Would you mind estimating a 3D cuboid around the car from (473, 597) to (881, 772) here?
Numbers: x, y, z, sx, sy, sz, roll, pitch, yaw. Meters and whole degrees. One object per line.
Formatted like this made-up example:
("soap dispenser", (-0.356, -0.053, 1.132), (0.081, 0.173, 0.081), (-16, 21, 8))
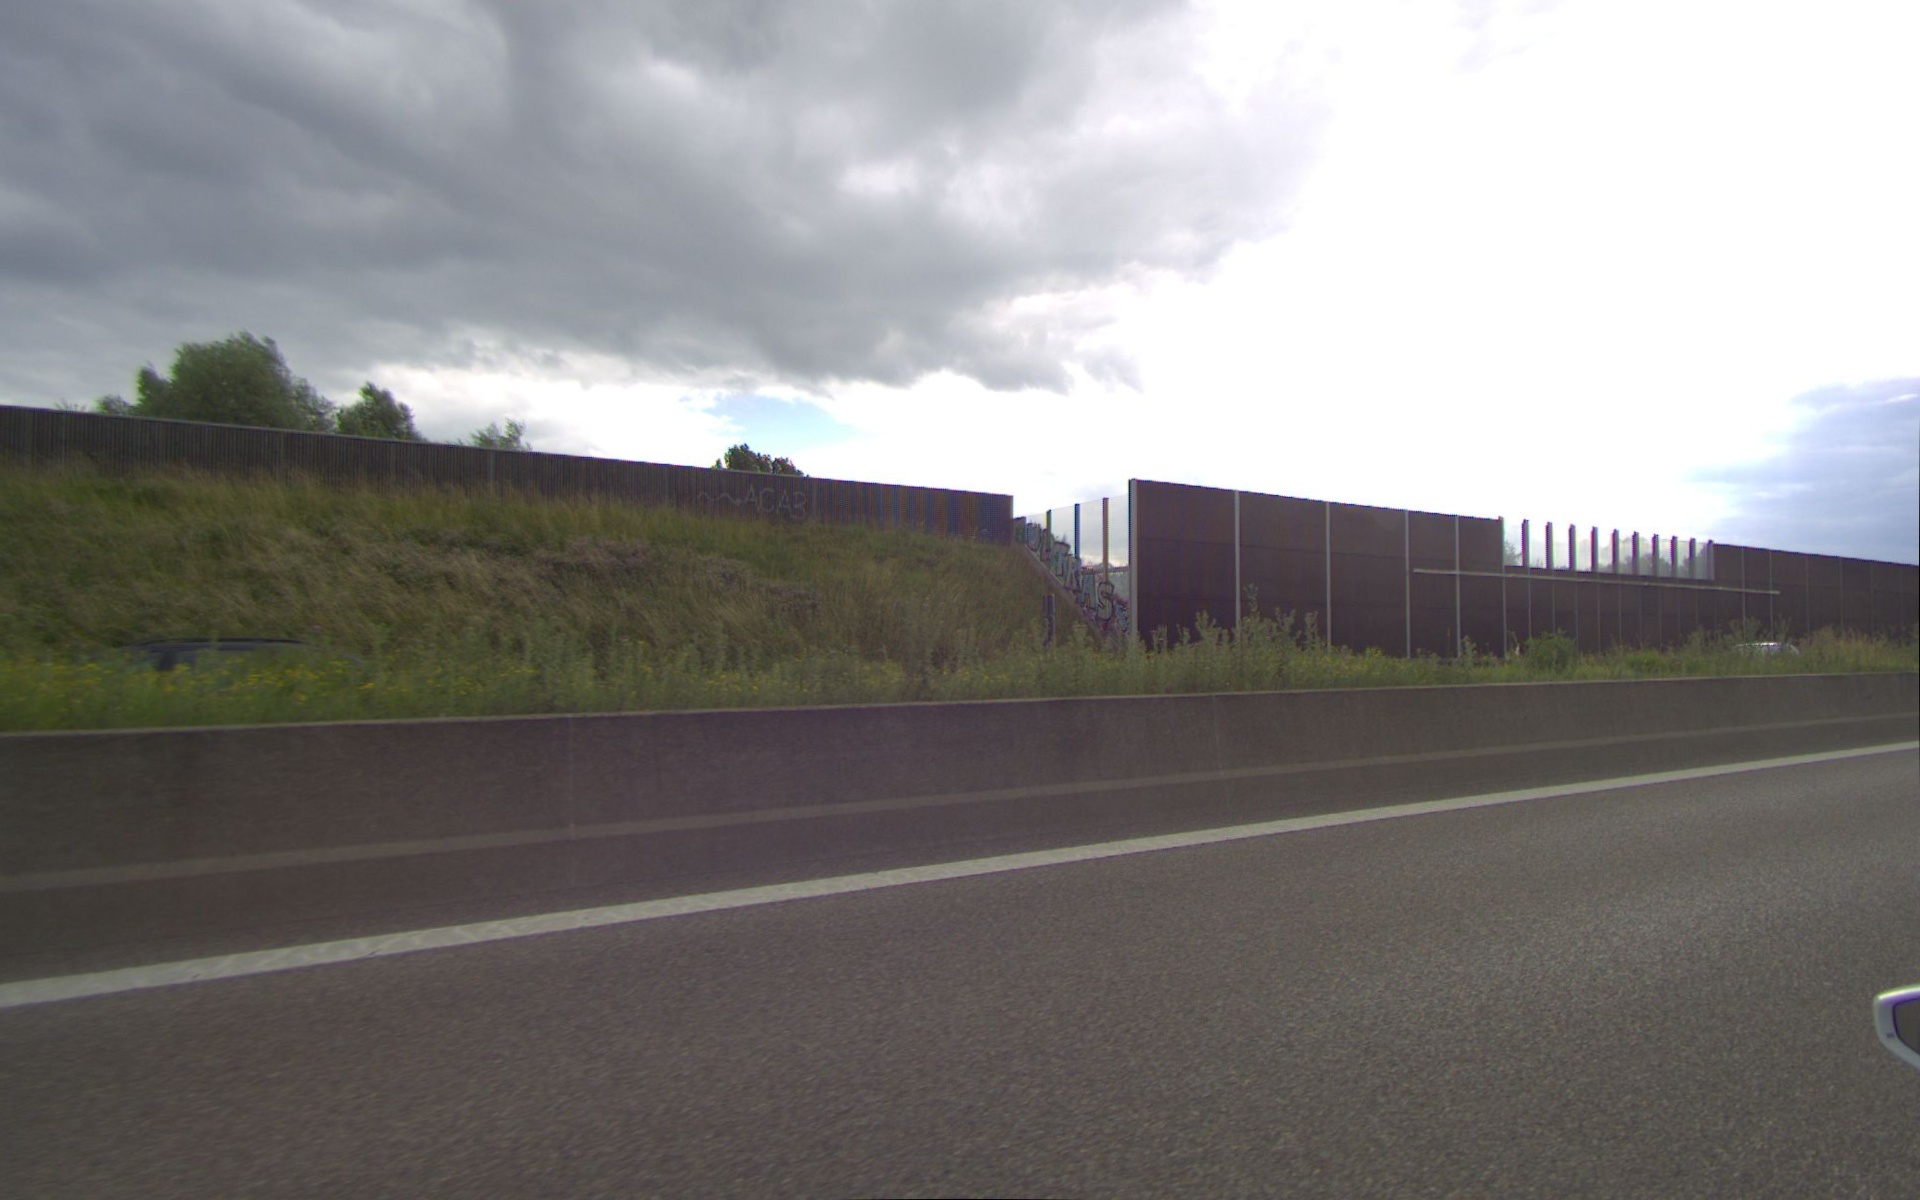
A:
("car", (-3.457, 0.960, 12.586), (4.665, 1.853, 1.718), (1, -2, -30))
